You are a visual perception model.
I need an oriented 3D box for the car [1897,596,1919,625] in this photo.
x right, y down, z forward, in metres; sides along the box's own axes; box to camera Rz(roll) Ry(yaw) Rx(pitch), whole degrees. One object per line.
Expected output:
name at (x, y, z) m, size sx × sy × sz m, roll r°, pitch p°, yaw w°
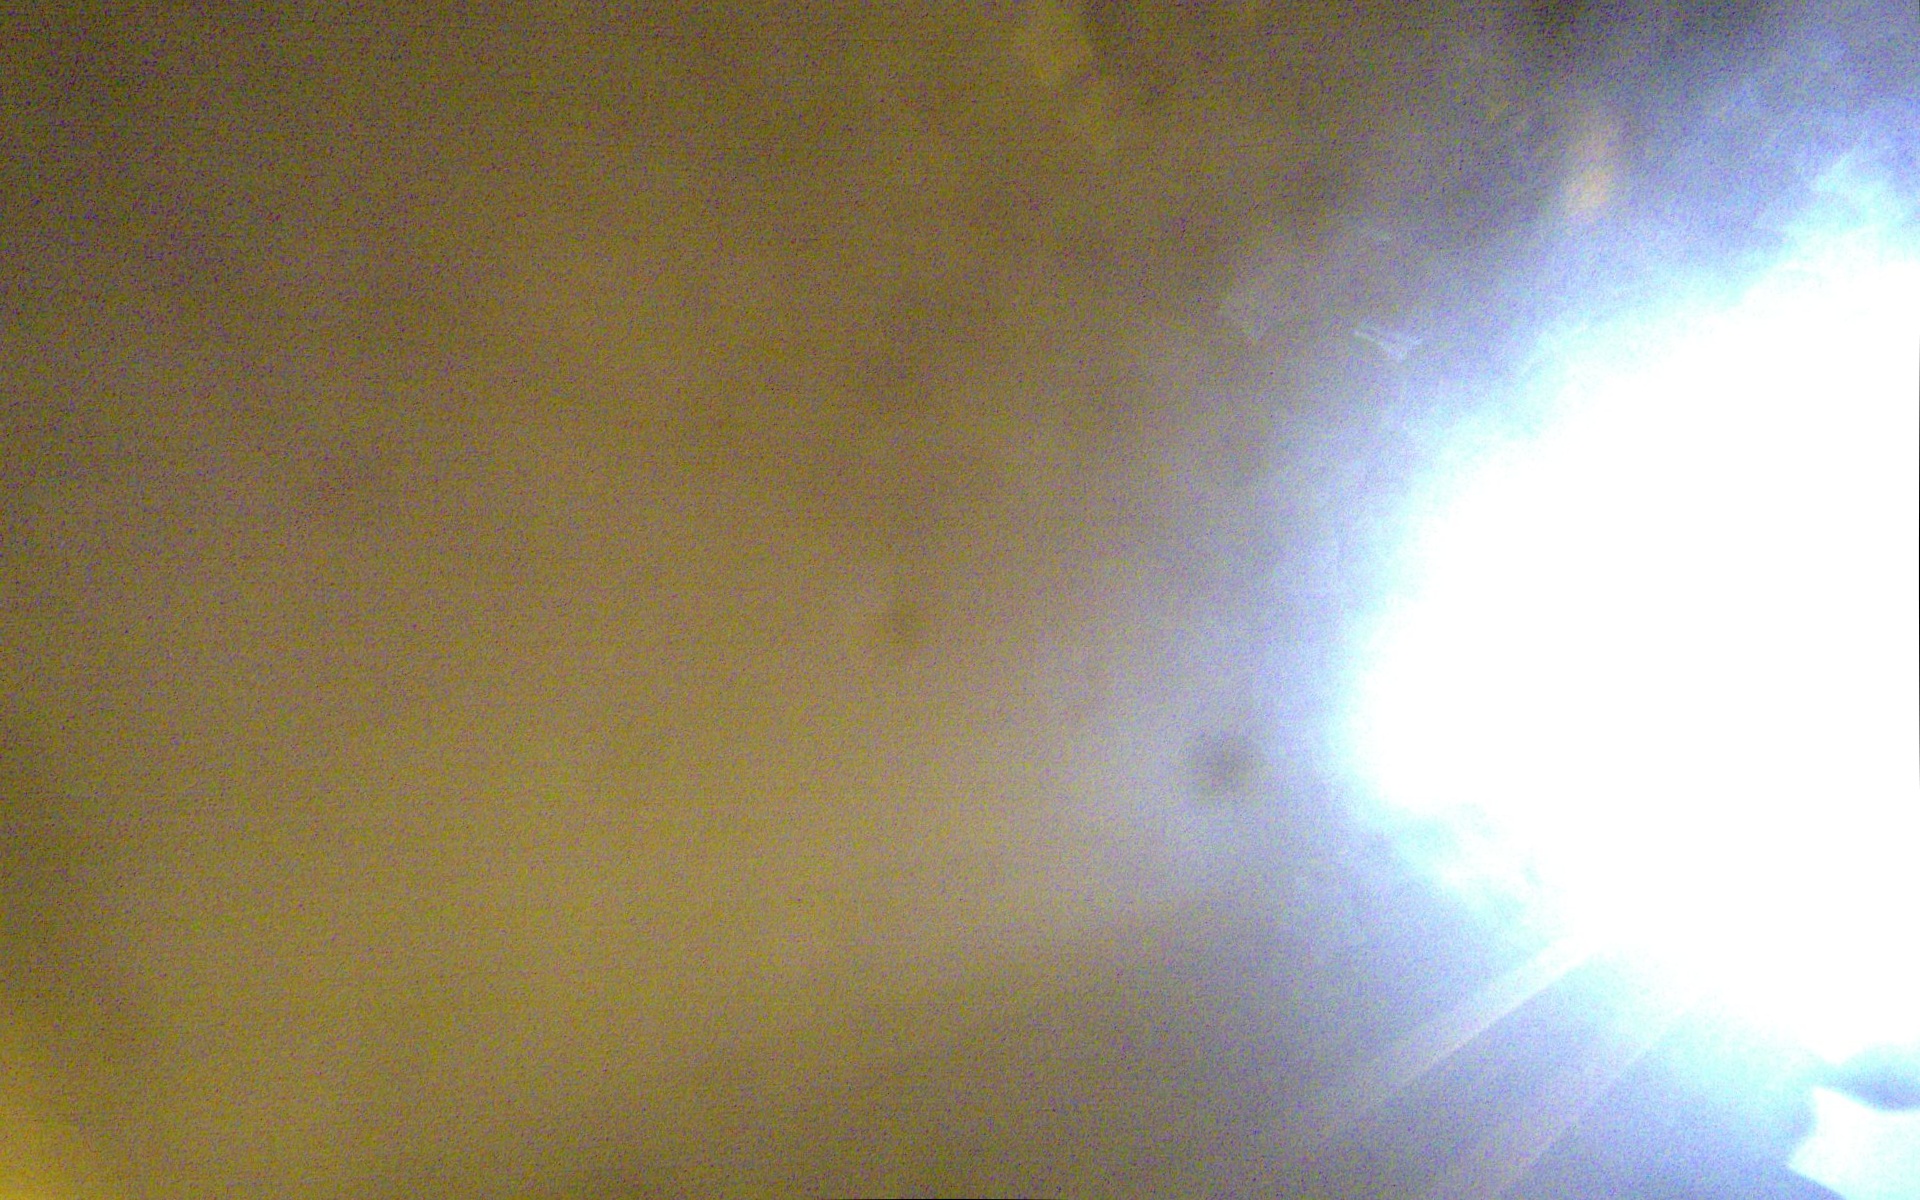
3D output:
car at (68.837, 0.737, 72.772) m, size 1.891 × 2.039 × 3.943 m, roll 1°, pitch 1°, yaw 39°
